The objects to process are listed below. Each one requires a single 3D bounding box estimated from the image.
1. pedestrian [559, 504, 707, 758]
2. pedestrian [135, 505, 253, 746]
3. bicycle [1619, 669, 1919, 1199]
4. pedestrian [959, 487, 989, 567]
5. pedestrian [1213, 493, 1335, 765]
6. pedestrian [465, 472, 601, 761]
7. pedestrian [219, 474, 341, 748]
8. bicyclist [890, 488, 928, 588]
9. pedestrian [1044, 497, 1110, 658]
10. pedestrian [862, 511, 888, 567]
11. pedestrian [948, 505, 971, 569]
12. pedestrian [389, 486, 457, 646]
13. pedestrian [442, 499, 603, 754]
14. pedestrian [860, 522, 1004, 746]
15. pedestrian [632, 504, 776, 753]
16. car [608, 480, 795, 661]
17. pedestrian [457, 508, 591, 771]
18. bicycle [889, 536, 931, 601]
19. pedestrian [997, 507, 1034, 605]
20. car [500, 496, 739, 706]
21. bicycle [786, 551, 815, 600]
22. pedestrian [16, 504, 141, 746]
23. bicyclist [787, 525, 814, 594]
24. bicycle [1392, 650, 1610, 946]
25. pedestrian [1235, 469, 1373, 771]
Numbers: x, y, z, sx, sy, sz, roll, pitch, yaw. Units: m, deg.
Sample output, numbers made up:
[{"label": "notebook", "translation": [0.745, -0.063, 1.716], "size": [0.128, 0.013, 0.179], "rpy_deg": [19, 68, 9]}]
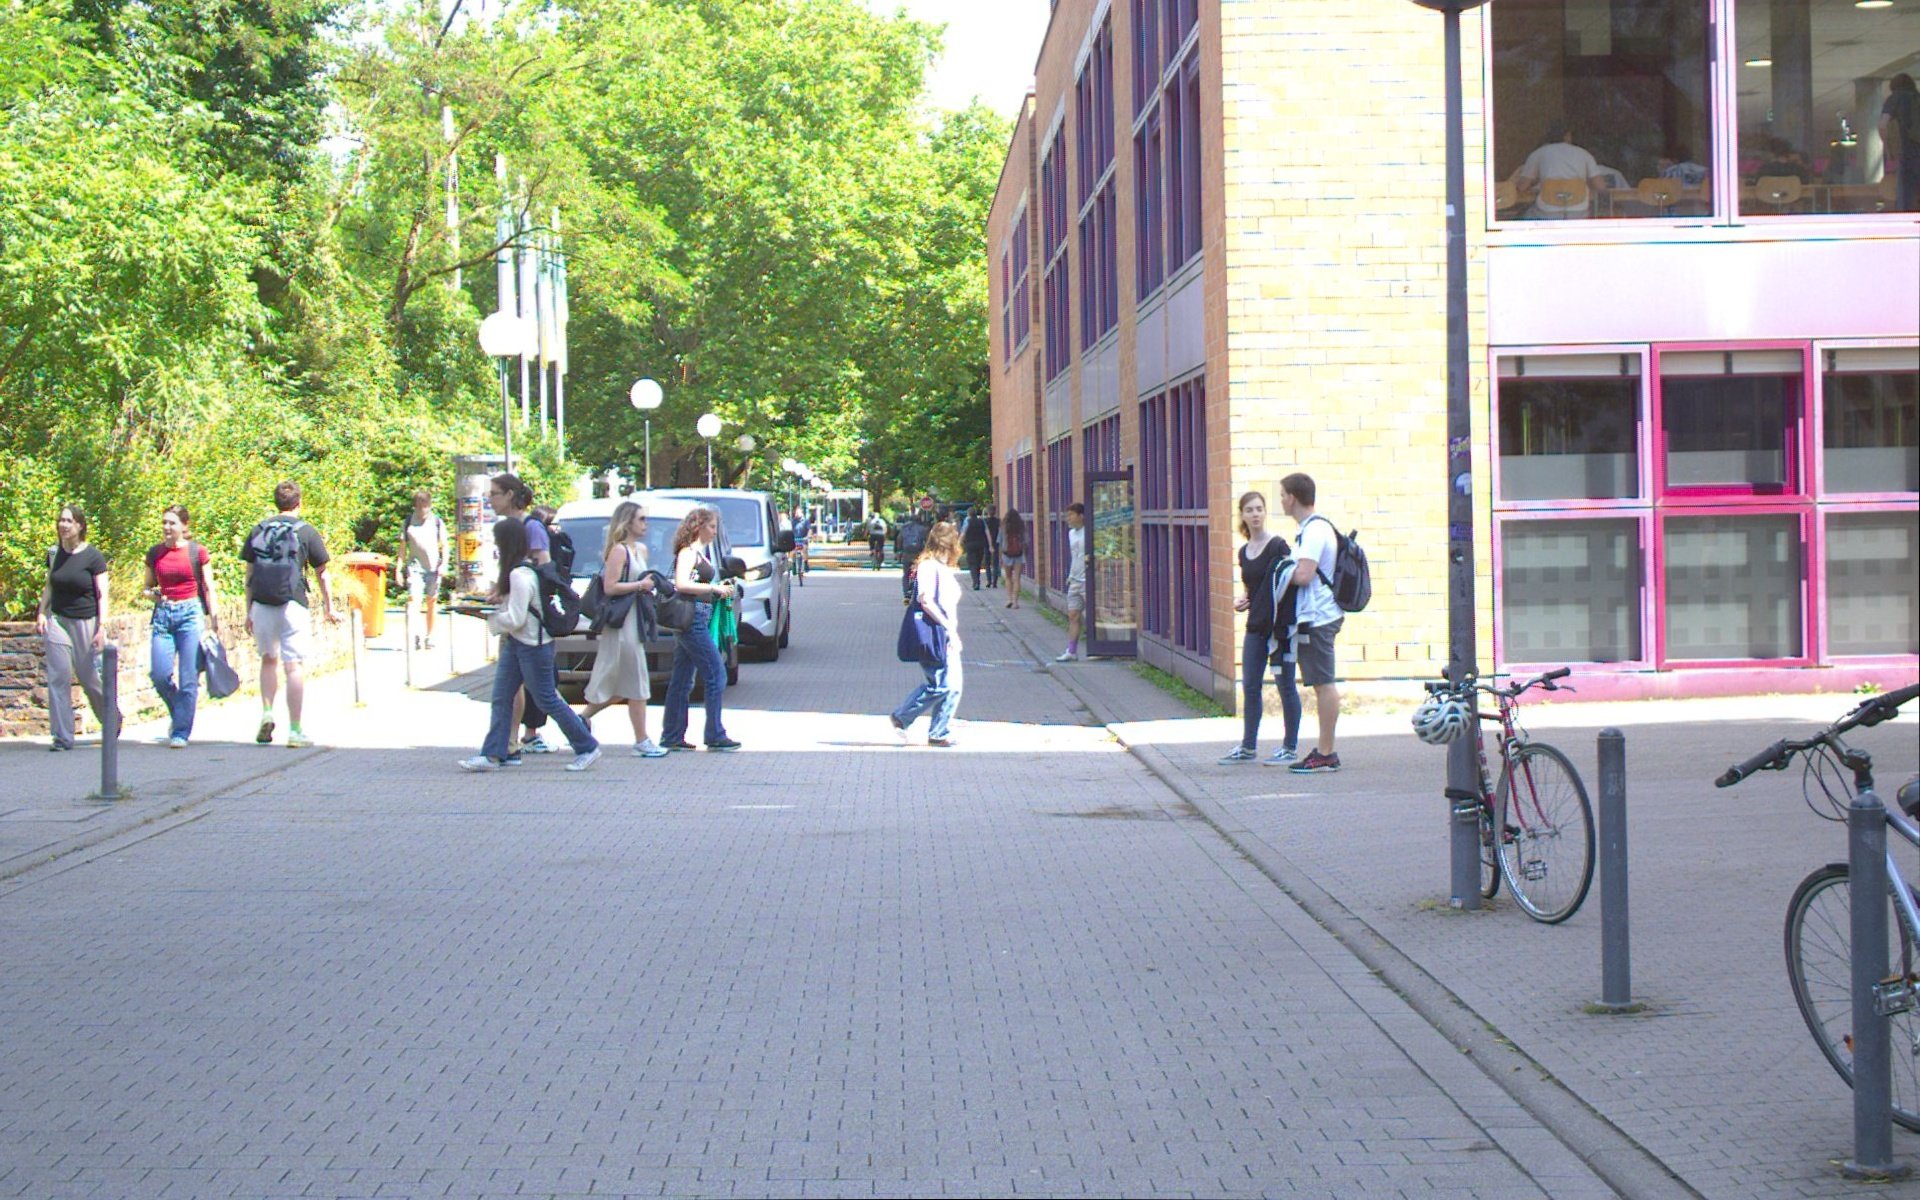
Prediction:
[{"label": "pedestrian", "translation": [-2.172, 0.200, 22.871], "size": [0.886, 1.667, 0.559], "rpy_deg": [0, 0, 7]}, {"label": "pedestrian", "translation": [-5.251, 0.167, 23.597], "size": [0.682, 1.615, 0.914], "rpy_deg": [0, 0, -6]}, {"label": "bicycle", "translation": [1.972, 0.733, 7.440], "size": [0.708, 1.089, 1.749], "rpy_deg": [0, 1, -2]}, {"label": "pedestrian", "translation": [0.294, -1.549, 73.255], "size": [0.586, 1.667, 0.817], "rpy_deg": [-2, 0, 0]}, {"label": "pedestrian", "translation": [1.974, 0.179, 21.550], "size": [0.697, 1.667, 0.588], "rpy_deg": [-2, 0, 7]}, {"label": "pedestrian", "translation": [-2.746, 0.102, 22.177], "size": [0.825, 1.838, 0.685], "rpy_deg": [0, 0, -3]}, {"label": "pedestrian", "translation": [-4.636, 0.071, 23.468], "size": [0.682, 1.838, 0.783], "rpy_deg": [0, 0, -1]}, {"label": "bicyclist", "translation": [-0.876, -1.065, 59.091], "size": [0.587, 1.710, 0.665], "rpy_deg": [-1, 1, -4]}, {"label": "pedestrian", "translation": [1.285, -0.248, 37.786], "size": [0.682, 1.741, 0.783], "rpy_deg": [0, 0, -1]}, {"label": "pedestrian", "translation": [-2.588, -1.861, 104.974], "size": [0.725, 1.667, 0.748], "rpy_deg": [-2, 0, 0]}, {"label": "pedestrian", "translation": [-0.015, -1.915, 105.165], "size": [0.653, 1.915, 0.817], "rpy_deg": [-2, 0, 0]}, {"label": "pedestrian", "translation": [-6.255, -0.396, 40.059], "size": [0.682, 1.838, 0.783], "rpy_deg": [0, 0, -1]}, {"label": "pedestrian", "translation": [-2.967, 0.172, 23.365], "size": [0.886, 1.666, 0.643], "rpy_deg": [-2, 2, 7]}, {"label": "pedestrian", "translation": [-0.190, 0.230, 24.235], "size": [0.886, 1.537, 0.743], "rpy_deg": [-1, 1, 7]}, {"label": "pedestrian", "translation": [-1.750, 0.190, 23.593], "size": [0.929, 1.667, 0.588], "rpy_deg": [-1, 0, -2]}, {"label": "car", "translation": [-2.960, -0.391, 40.332], "size": [1.883, 1.967, 5.215], "rpy_deg": [-1, 1, -1]}, {"label": "pedestrian", "translation": [-2.716, 0.242, 21.483], "size": [0.780, 1.615, 0.685], "rpy_deg": [0, 0, -3]}, {"label": "bicycle", "translation": [-0.869, -0.547, 59.088], "size": [0.587, 1.080, 1.908], "rpy_deg": [-1, 1, -4]}, {"label": "pedestrian", "translation": [0.958, -0.765, 59.496], "size": [0.586, 1.667, 0.699], "rpy_deg": [-2, 0, 0]}, {"label": "car", "translation": [-3.027, -0.049, 31.347], "size": [1.790, 1.755, 4.482], "rpy_deg": [-1, 1, -1]}, {"label": "bicycle", "translation": [-3.645, -0.559, 78.535], "size": [0.587, 1.080, 1.814], "rpy_deg": [-1, 1, -4]}, {"label": "pedestrian", "translation": [-6.022, 0.163, 23.514], "size": [0.682, 1.615, 0.979], "rpy_deg": [0, 0, -6]}, {"label": "bicyclist", "translation": [-3.640, -0.932, 78.495], "size": [0.587, 1.567, 0.829], "rpy_deg": [-1, 1, -4]}, {"label": "bicycle", "translation": [2.022, 0.711, 13.021], "size": [0.450, 0.958, 1.740], "rpy_deg": [-3, 1, -2]}, {"label": "pedestrian", "translation": [2.094, 0.119, 20.883], "size": [0.767, 1.788, 0.588], "rpy_deg": [-2, 0, 7]}]
